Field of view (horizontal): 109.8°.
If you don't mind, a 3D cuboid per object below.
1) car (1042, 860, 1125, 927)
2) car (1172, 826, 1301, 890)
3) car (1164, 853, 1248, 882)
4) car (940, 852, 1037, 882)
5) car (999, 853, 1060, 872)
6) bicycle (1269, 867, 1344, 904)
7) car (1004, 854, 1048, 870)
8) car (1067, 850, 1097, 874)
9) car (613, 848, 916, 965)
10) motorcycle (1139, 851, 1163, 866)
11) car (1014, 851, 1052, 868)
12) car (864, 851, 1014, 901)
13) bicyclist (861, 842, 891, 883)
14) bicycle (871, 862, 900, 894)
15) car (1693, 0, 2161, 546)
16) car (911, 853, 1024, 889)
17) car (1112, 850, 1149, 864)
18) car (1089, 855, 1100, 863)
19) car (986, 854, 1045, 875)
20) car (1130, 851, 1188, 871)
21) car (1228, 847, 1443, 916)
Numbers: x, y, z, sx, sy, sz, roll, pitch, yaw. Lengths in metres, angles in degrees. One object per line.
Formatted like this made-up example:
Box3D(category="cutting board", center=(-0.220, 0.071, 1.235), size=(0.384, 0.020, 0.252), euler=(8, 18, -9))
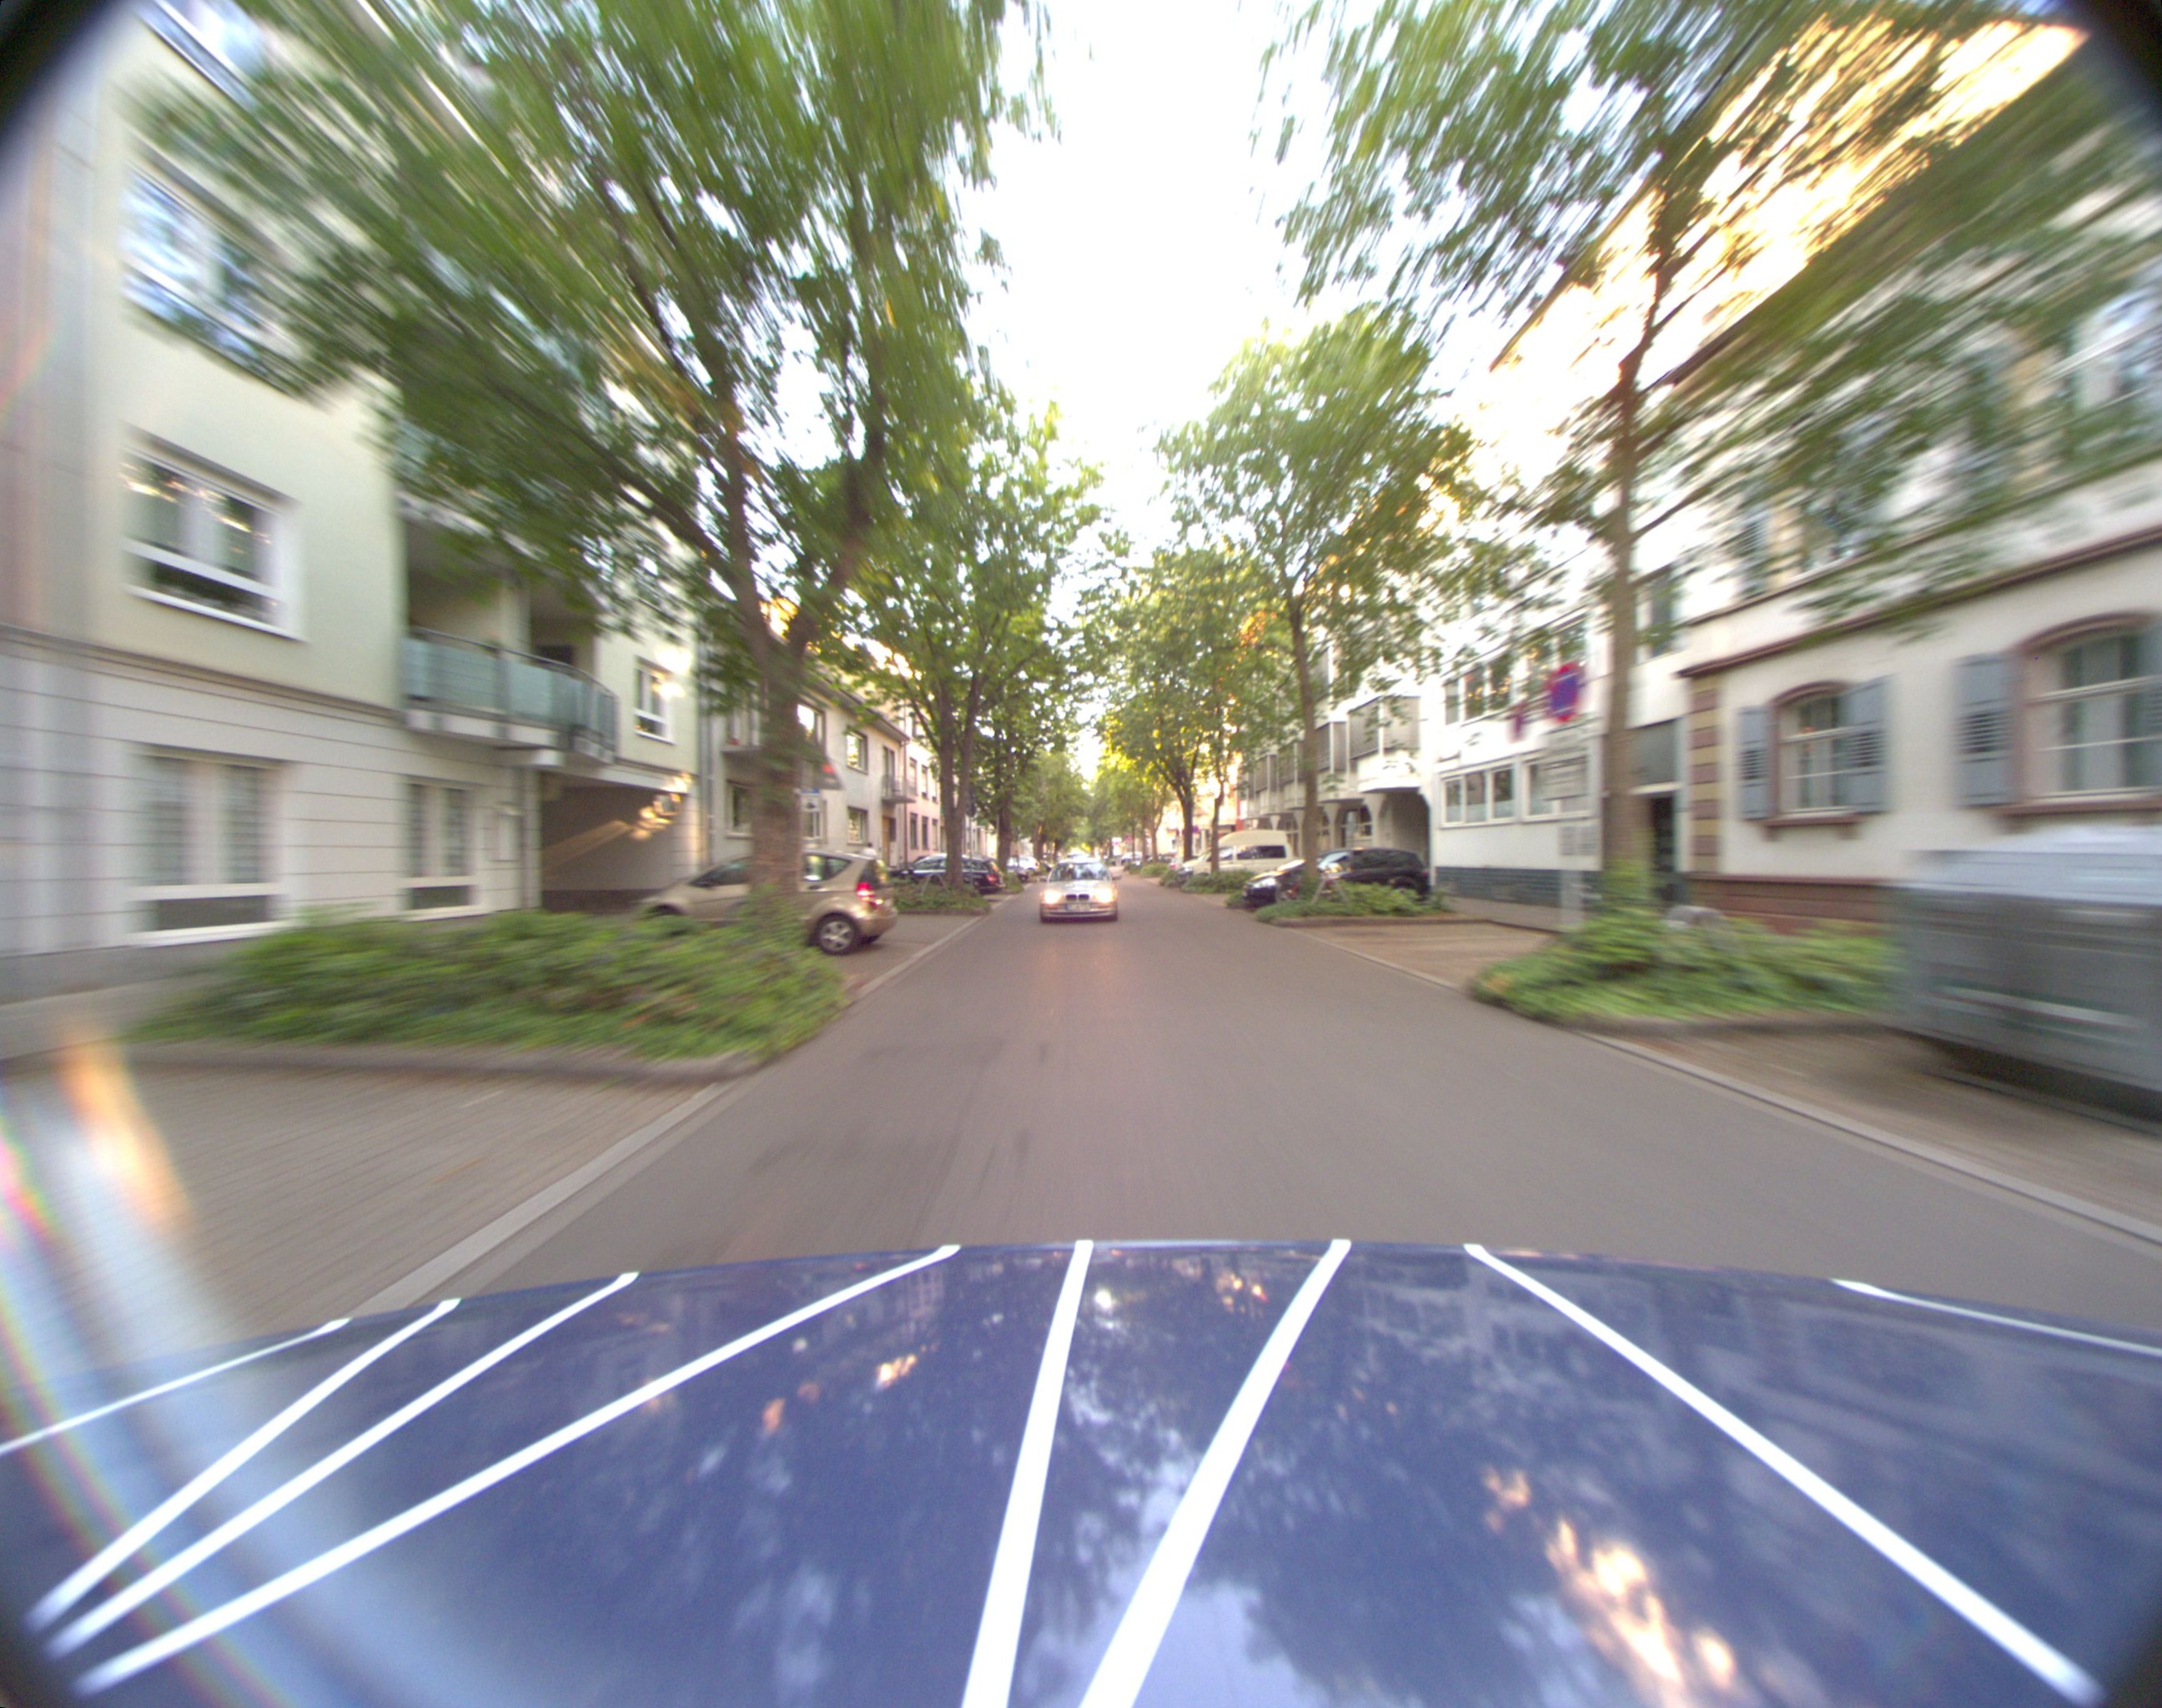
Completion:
Box3D(category="car", center=(-0.039, 0.854, 18.257), size=(1.737, 1.363, 4.331), euler=(-1, 0, -2))
Box3D(category="car", center=(6.498, 0.169, 32.153), size=(5.016, 2.558, 2.121), euler=(-1, 0, 0))
Box3D(category="car", center=(6.589, 0.691, 40.396), size=(4.178, 1.460, 1.953), euler=(-1, 0, 1))
Box3D(category="car", center=(-4.876, 0.657, 40.609), size=(4.851, 1.440, 2.042), euler=(1, 0, 2))
Box3D(category="car", center=(-4.195, 0.688, 62.412), size=(4.887, 1.488, 1.988), euler=(-1, 0, 0))
Box3D(category="bicycle", center=(5.219, 0.723, 17.618), size=(1.556, 0.826, 0.613), euler=(-1, 1, 3))
Box3D(category="car", center=(-4.855, 0.676, 67.258), size=(3.846, 1.403, 1.712), euler=(0, 0, -5))
Box3D(category="car", center=(0.099, 0.529, 55.520), size=(1.892, 1.636, 4.001), euler=(-2, 0, 4))
Box3D(category="car", center=(-4.842, 0.767, 12.097), size=(3.979, 1.576, 1.916), euler=(2, 1, -1))
Box3D(category="motorcycle", center=(7.055, 0.432, 77.013), size=(2.234, 1.461, 0.900), euler=(-1, 1, -23))
Box3D(category="car", center=(-4.752, 0.539, 75.943), size=(3.732, 1.544, 1.754), euler=(-1, 0, -3))
Box3D(category="car", center=(-4.642, 0.702, 25.295), size=(4.468, 1.419, 2.011), euler=(2, 1, 4))
Box3D(category="bicyclist", center=(-8.292, 0.330, 30.783), size=(0.973, 1.595, 1.135), euler=(-1, 1, -4))
Box3D(category="bicycle", center=(-7.997, 0.952, 31.228), size=(0.622, 1.157, 3.399), euler=(-1, 0, -6))
Box3D(category="car", center=(6.497, -3.038, 4.296), size=(4.517, 1.761, 1.999), euler=(-1, 1, -2))
Box3D(category="car", center=(-5.042, 0.732, 34.144), size=(4.689, 1.380, 2.000), euler=(2, 0, 1))
Box3D(category="car", center=(6.268, 0.417, 96.269), size=(4.601, 1.725, 2.142), euler=(-1, 0, 5))
Box3D(category="car", center=(2.691, 0.973, 152.568), size=(1.787, 1.678, 4.385), euler=(-1, 0, -2))
Box3D(category="car", center=(-4.666, 0.739, 54.436), size=(4.093, 1.482, 1.797), euler=(-1, 0, -3))
Box3D(category="car", center=(6.264, 0.552, 61.271), size=(4.521, 1.517, 1.871), euler=(-1, 0, 0))
Box3D(category="car", center=(6.463, 0.668, 19.745), size=(4.865, 1.612, 2.160), euler=(-1, 1, 1))
